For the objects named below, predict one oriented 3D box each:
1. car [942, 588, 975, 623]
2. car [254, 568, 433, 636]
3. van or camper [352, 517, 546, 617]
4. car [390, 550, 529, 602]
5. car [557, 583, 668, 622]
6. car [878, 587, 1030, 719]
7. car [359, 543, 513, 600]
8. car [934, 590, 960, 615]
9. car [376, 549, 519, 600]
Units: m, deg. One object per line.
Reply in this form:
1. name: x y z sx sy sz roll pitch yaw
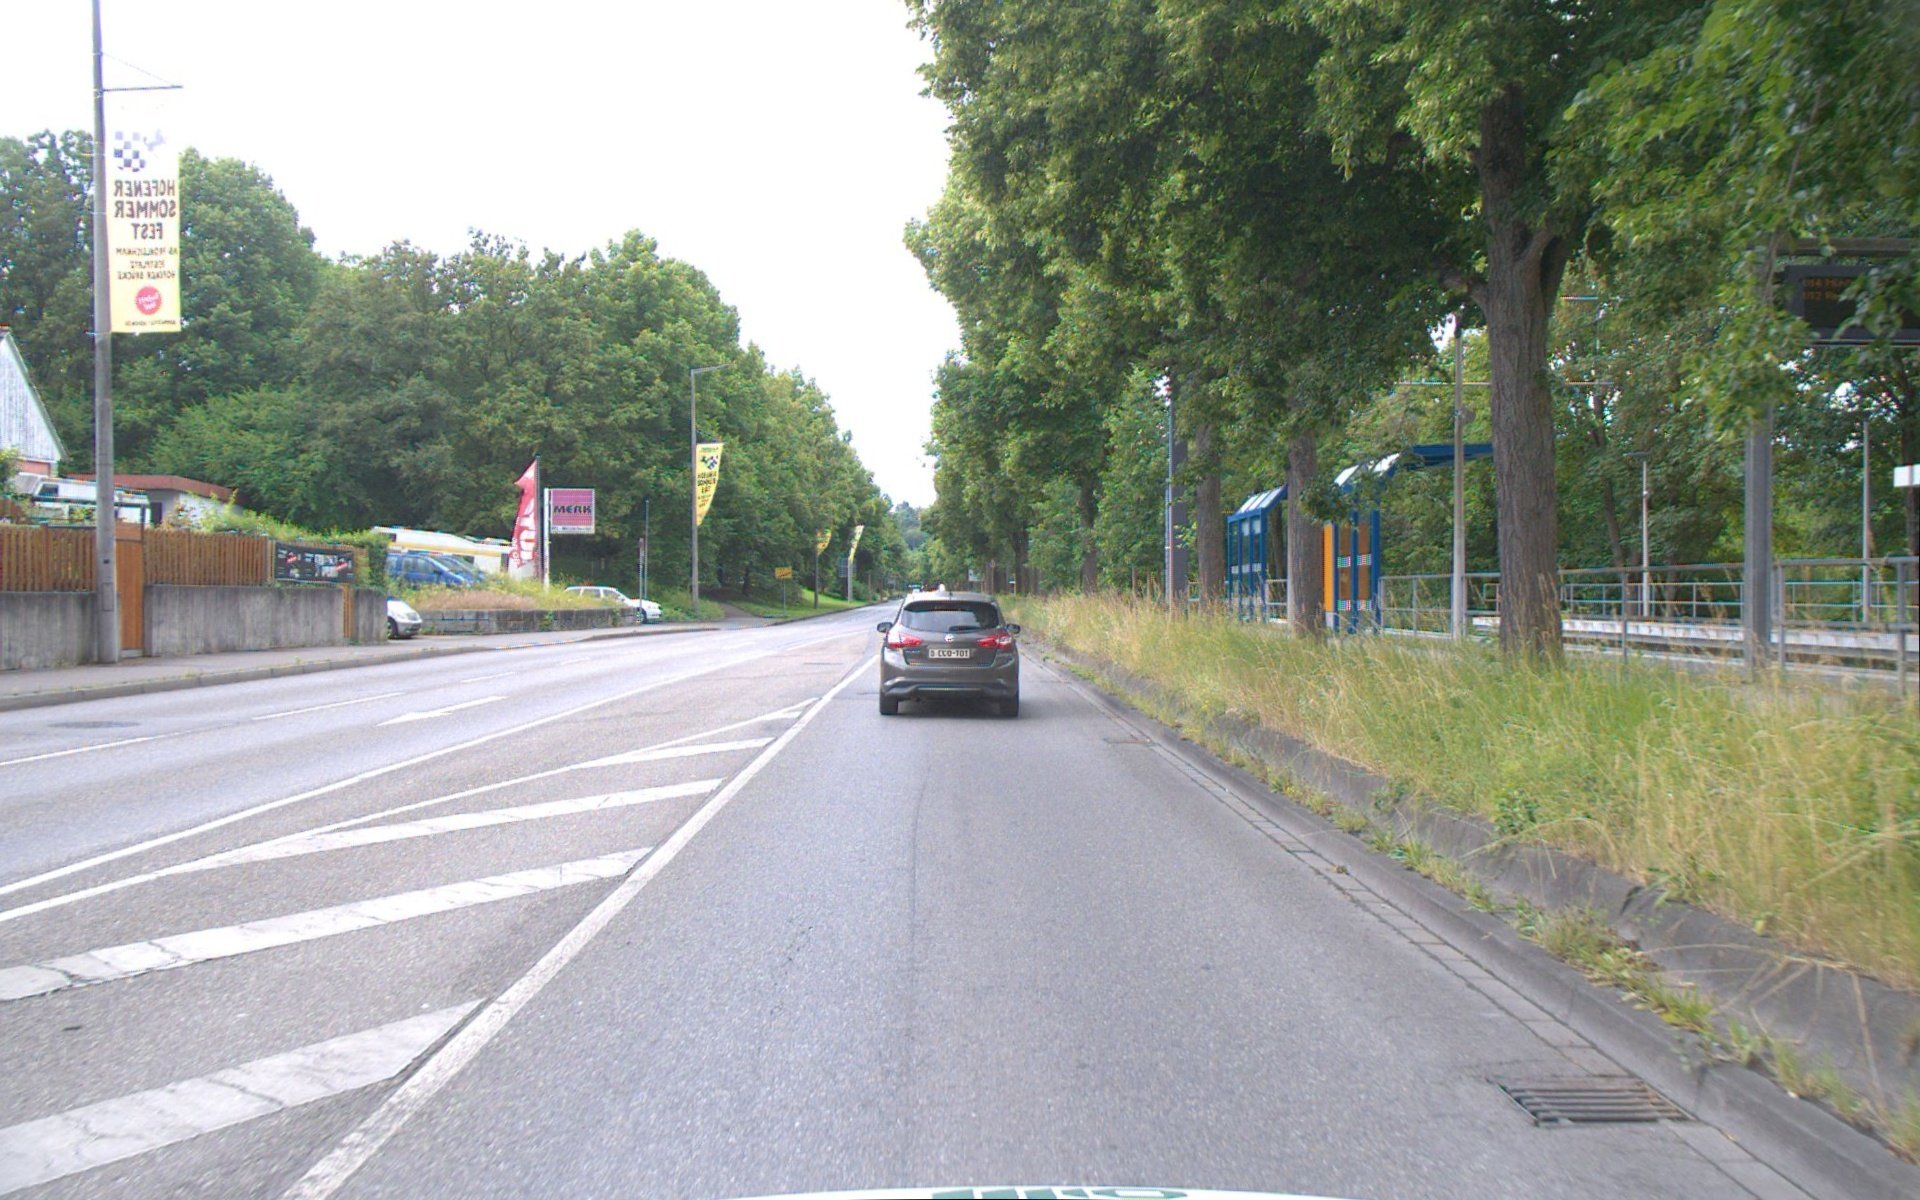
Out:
1. car: -0.050 0.245 77.614 1.472 1.555 3.671 1 0 1
2. car: -16.238 0.056 43.691 3.905 1.645 2.000 2 -1 0
3. van or camper: -21.331 -1.379 69.351 6.998 3.428 2.796 5 0 -1
4. car: -16.095 -0.756 53.279 3.903 1.518 1.648 2 -1 4
5. car: -14.594 0.089 69.674 4.288 1.466 1.960 2 0 -3
6. car: -0.037 0.633 21.806 1.799 1.555 3.929 1 0 1
7. car: -15.634 -0.832 49.459 3.903 1.523 1.860 2 -1 4
8. car: -0.787 0.156 100.850 1.472 1.507 3.672 1 0 1
9. car: -15.880 -0.775 51.324 3.903 1.435 1.534 2 -1 4
